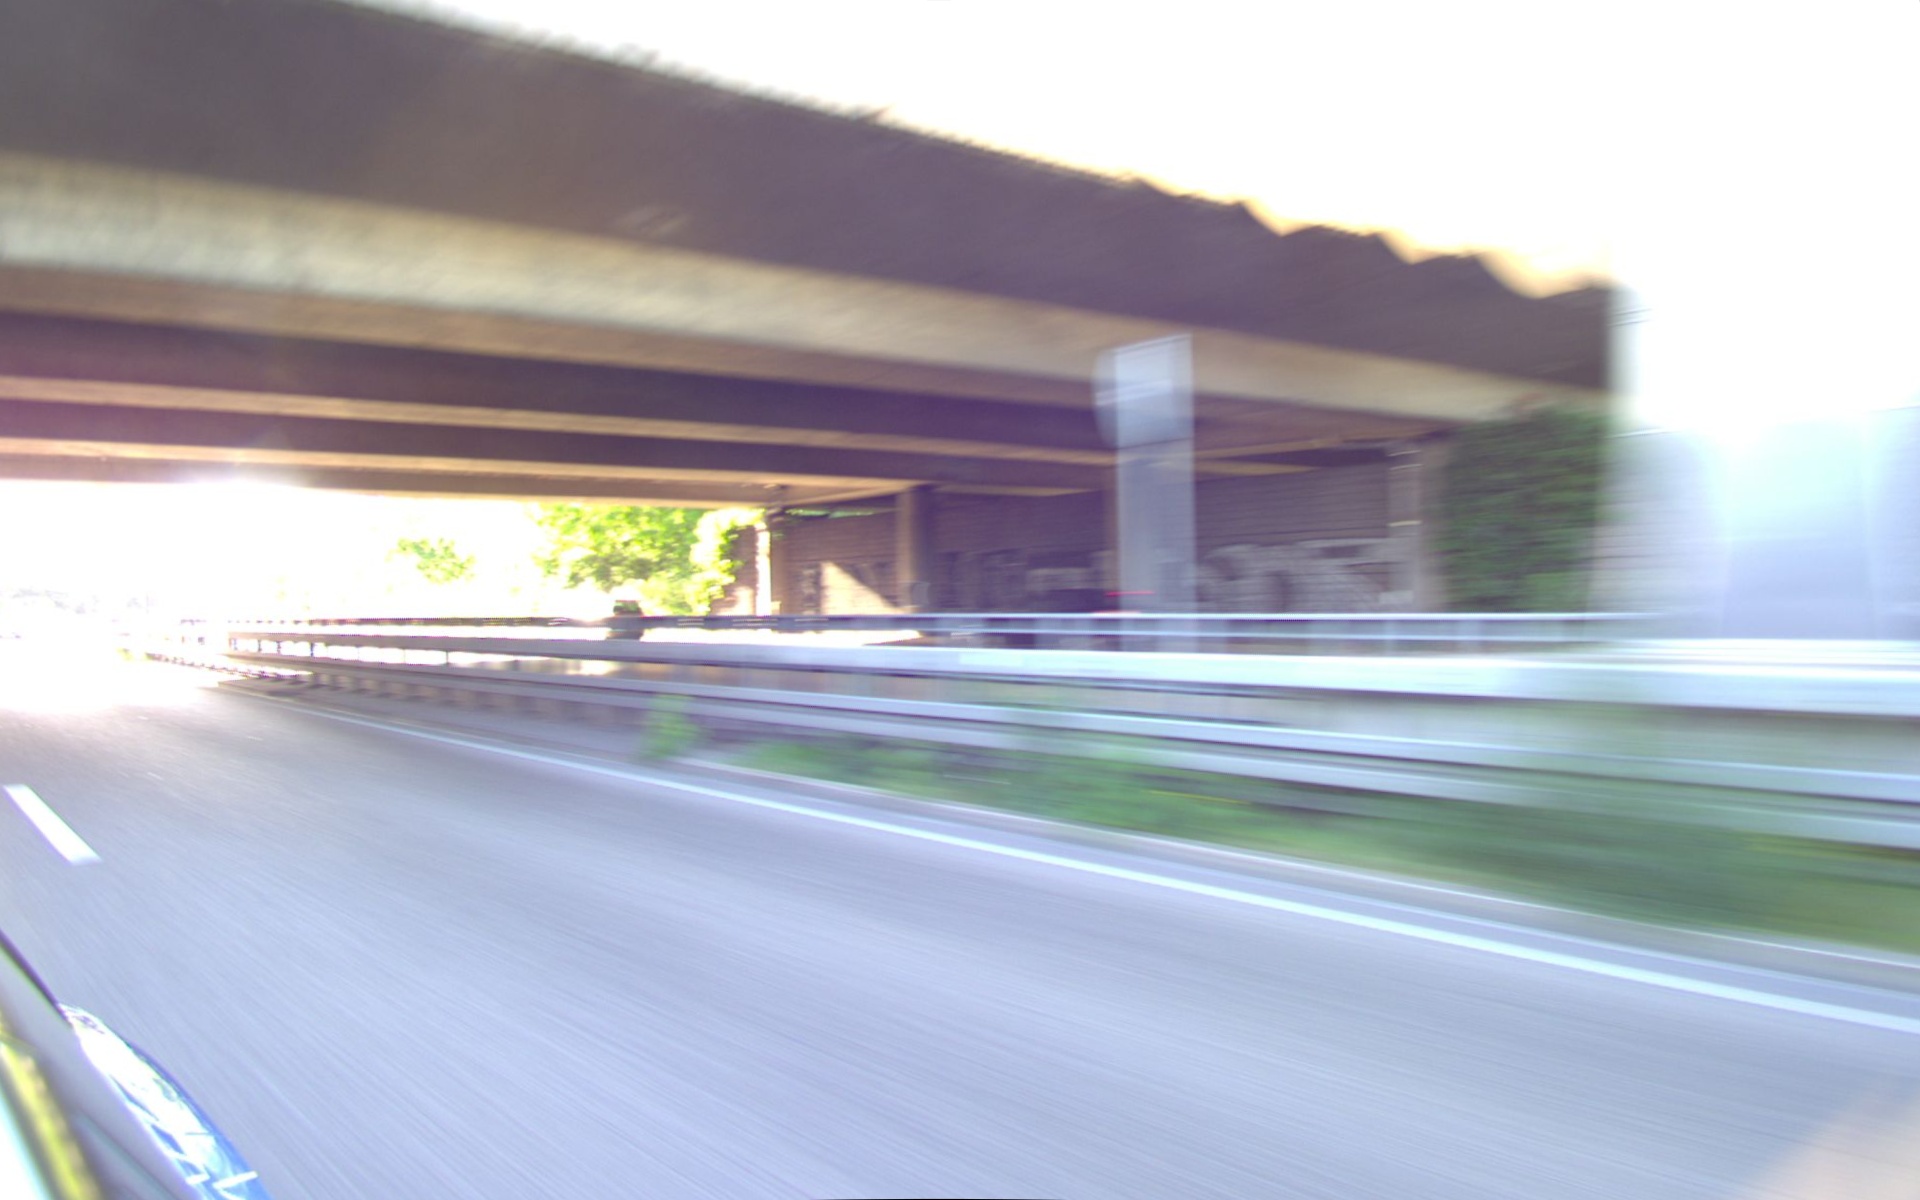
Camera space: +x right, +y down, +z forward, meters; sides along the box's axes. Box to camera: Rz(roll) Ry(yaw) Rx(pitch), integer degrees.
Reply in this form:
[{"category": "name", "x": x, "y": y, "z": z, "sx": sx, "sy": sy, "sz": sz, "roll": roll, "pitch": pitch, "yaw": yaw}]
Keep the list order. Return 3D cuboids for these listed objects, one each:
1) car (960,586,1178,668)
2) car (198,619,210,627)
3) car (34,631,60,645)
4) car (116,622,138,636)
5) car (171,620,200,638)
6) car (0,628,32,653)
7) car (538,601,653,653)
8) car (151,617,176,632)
[{"category": "car", "x": 2.302, "y": 0.577, "z": 22.154, "sx": 4.426, "sy": 1.608, "sz": 1.972, "roll": -2, "pitch": 0, "yaw": 43}, {"category": "car", "x": -157.451, "y": 4.763, "z": 210.773, "sx": 1.967, "sy": 1.425, "sz": 4.842, "roll": -2, "pitch": 0, "yaw": -36}, {"category": "car", "x": -103.413, "y": 4.306, "z": 114.642, "sx": 1.969, "sy": 1.425, "sz": 4.838, "roll": -2, "pitch": 0, "yaw": -40}, {"category": "car", "x": -106.421, "y": 3.696, "z": 129.280, "sx": 1.969, "sy": 1.653, "sz": 4.727, "roll": -2, "pitch": 0, "yaw": -42}, {"category": "car", "x": -77.296, "y": 2.853, "z": 100.986, "sx": 1.969, "sy": 1.653, "sz": 4.727, "roll": -2, "pitch": 0, "yaw": -42}, {"category": "car", "x": -59.149, "y": 2.509, "z": 62.957, "sx": 1.970, "sy": 1.425, "sz": 4.834, "roll": -2, "pitch": 0, "yaw": -44}, {"category": "car", "x": -12.993, "y": 0.968, "z": 35.926, "sx": 4.560, "sy": 1.719, "sz": 1.972, "roll": -2, "pitch": -1, "yaw": 43}, {"category": "car", "x": -93.673, "y": 2.849, "z": 119.029, "sx": 1.969, "sy": 1.653, "sz": 4.727, "roll": -2, "pitch": 0, "yaw": -42}]
